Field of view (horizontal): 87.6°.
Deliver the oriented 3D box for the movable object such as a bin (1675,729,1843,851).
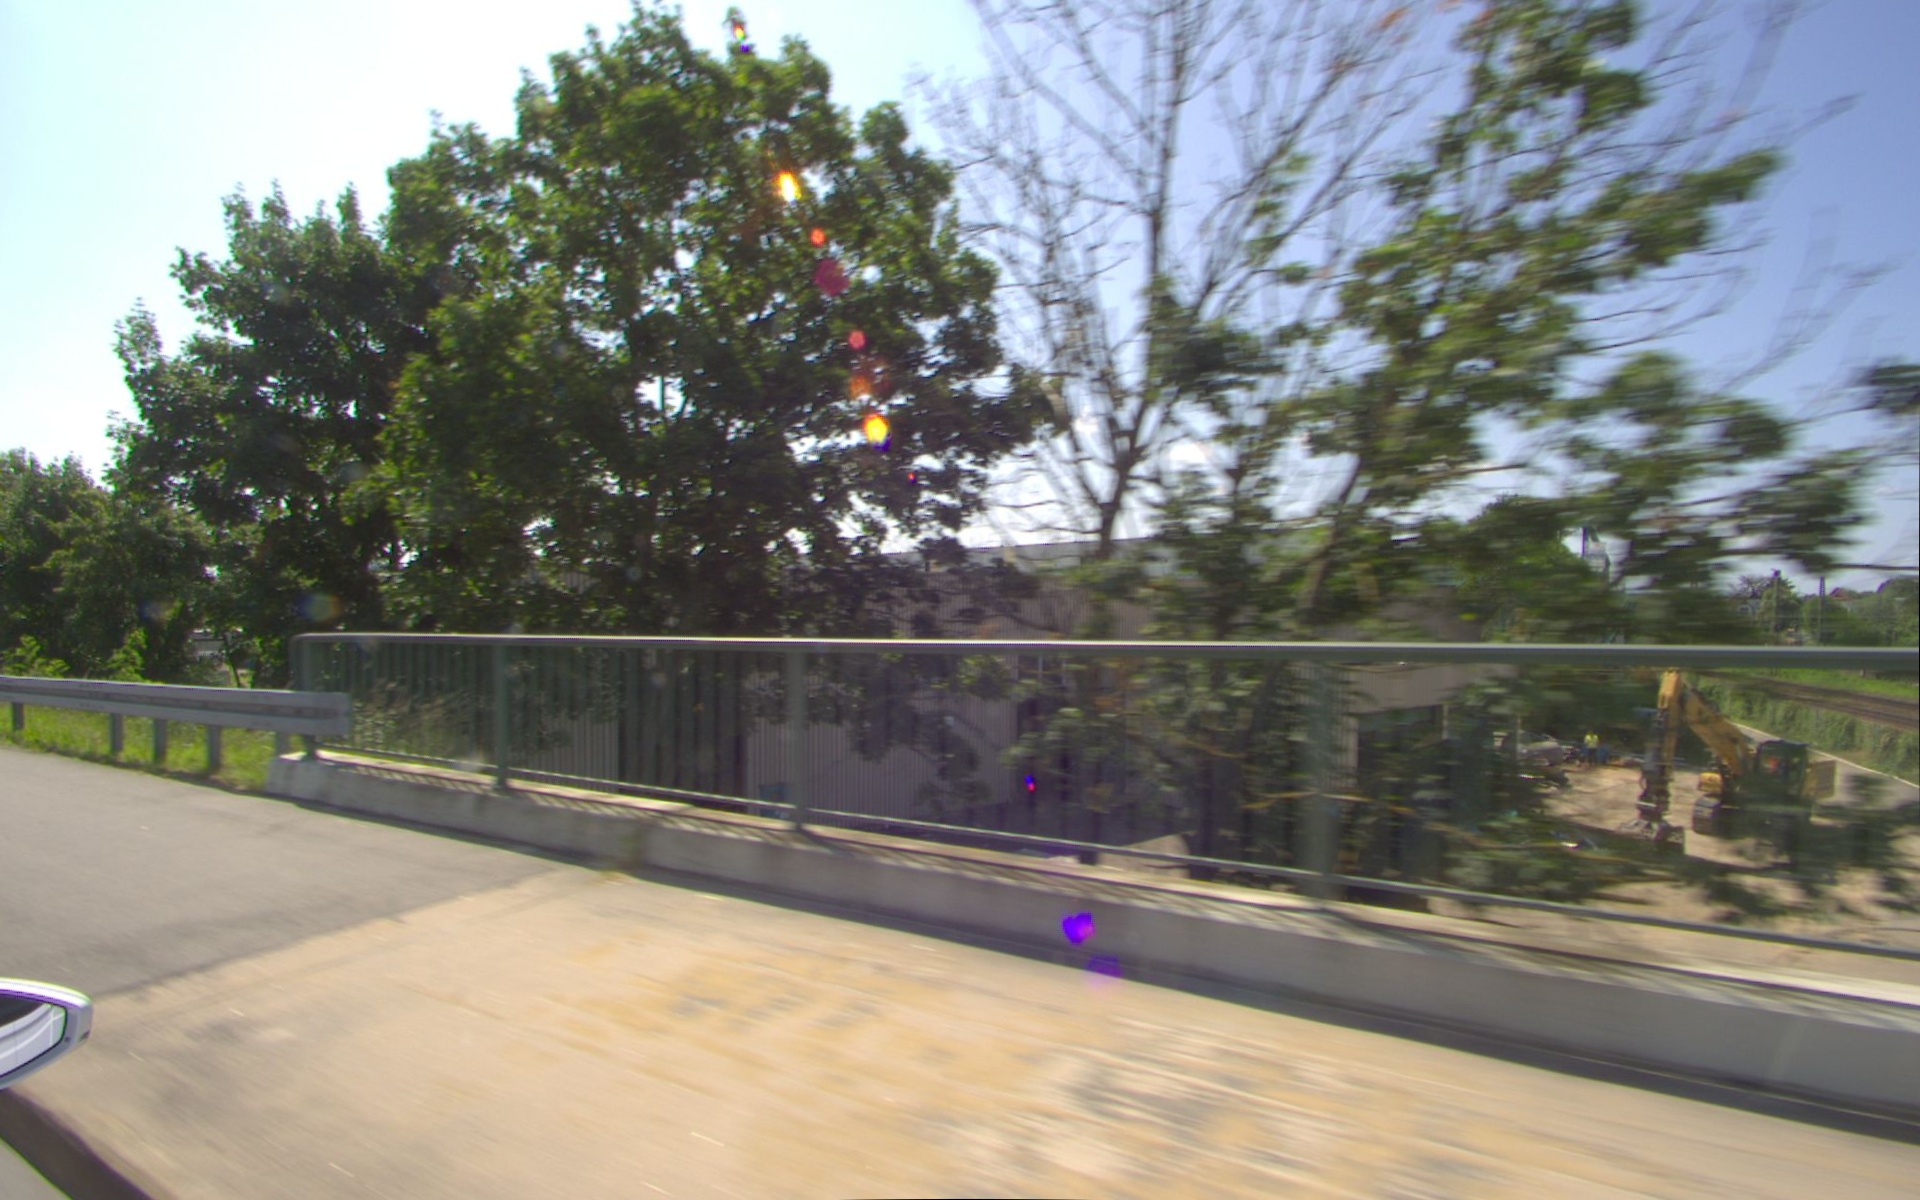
[{"bbox_3d":[29.665,6.856,37.123,6.145,3.335,3.224,1,2,-36],"label":"movable object such as a bin"}]
